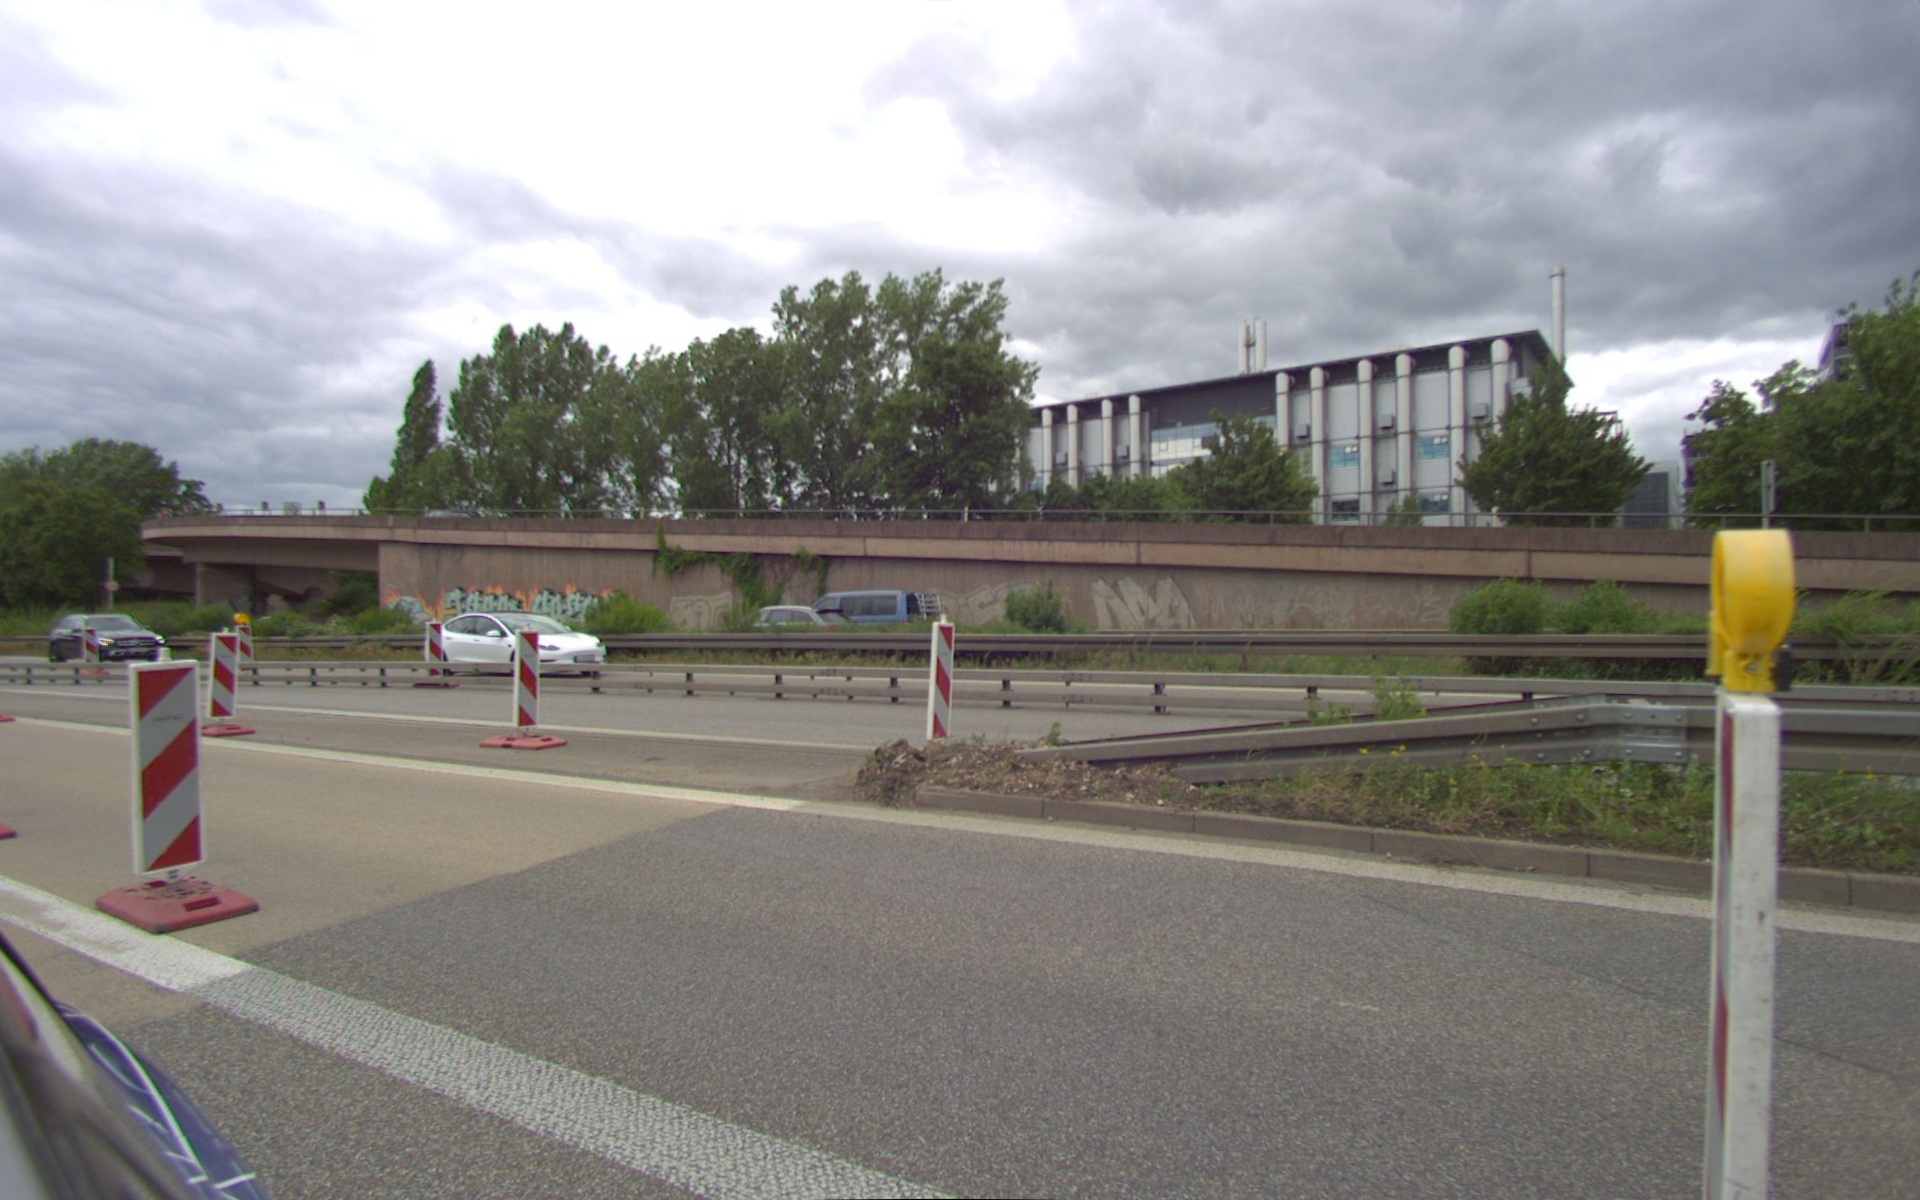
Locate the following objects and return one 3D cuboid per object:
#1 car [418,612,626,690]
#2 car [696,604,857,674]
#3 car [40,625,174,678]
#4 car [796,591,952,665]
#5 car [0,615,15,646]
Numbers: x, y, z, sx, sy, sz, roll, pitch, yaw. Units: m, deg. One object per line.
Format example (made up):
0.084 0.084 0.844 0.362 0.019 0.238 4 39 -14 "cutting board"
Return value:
-9.543 1.086 21.982 4.444 1.553 1.979 -2 -2 32 "car"
-4.972 1.028 27.293 3.986 1.719 1.978 -2 -1 32 "car"
-27.476 1.610 32.576 4.275 1.522 1.961 -1 1 31 "car"
-2.565 0.818 29.957 4.272 2.029 1.978 -2 -1 32 "car"
-52.881 1.661 54.447 4.275 1.652 1.841 -1 0 30 "car"
